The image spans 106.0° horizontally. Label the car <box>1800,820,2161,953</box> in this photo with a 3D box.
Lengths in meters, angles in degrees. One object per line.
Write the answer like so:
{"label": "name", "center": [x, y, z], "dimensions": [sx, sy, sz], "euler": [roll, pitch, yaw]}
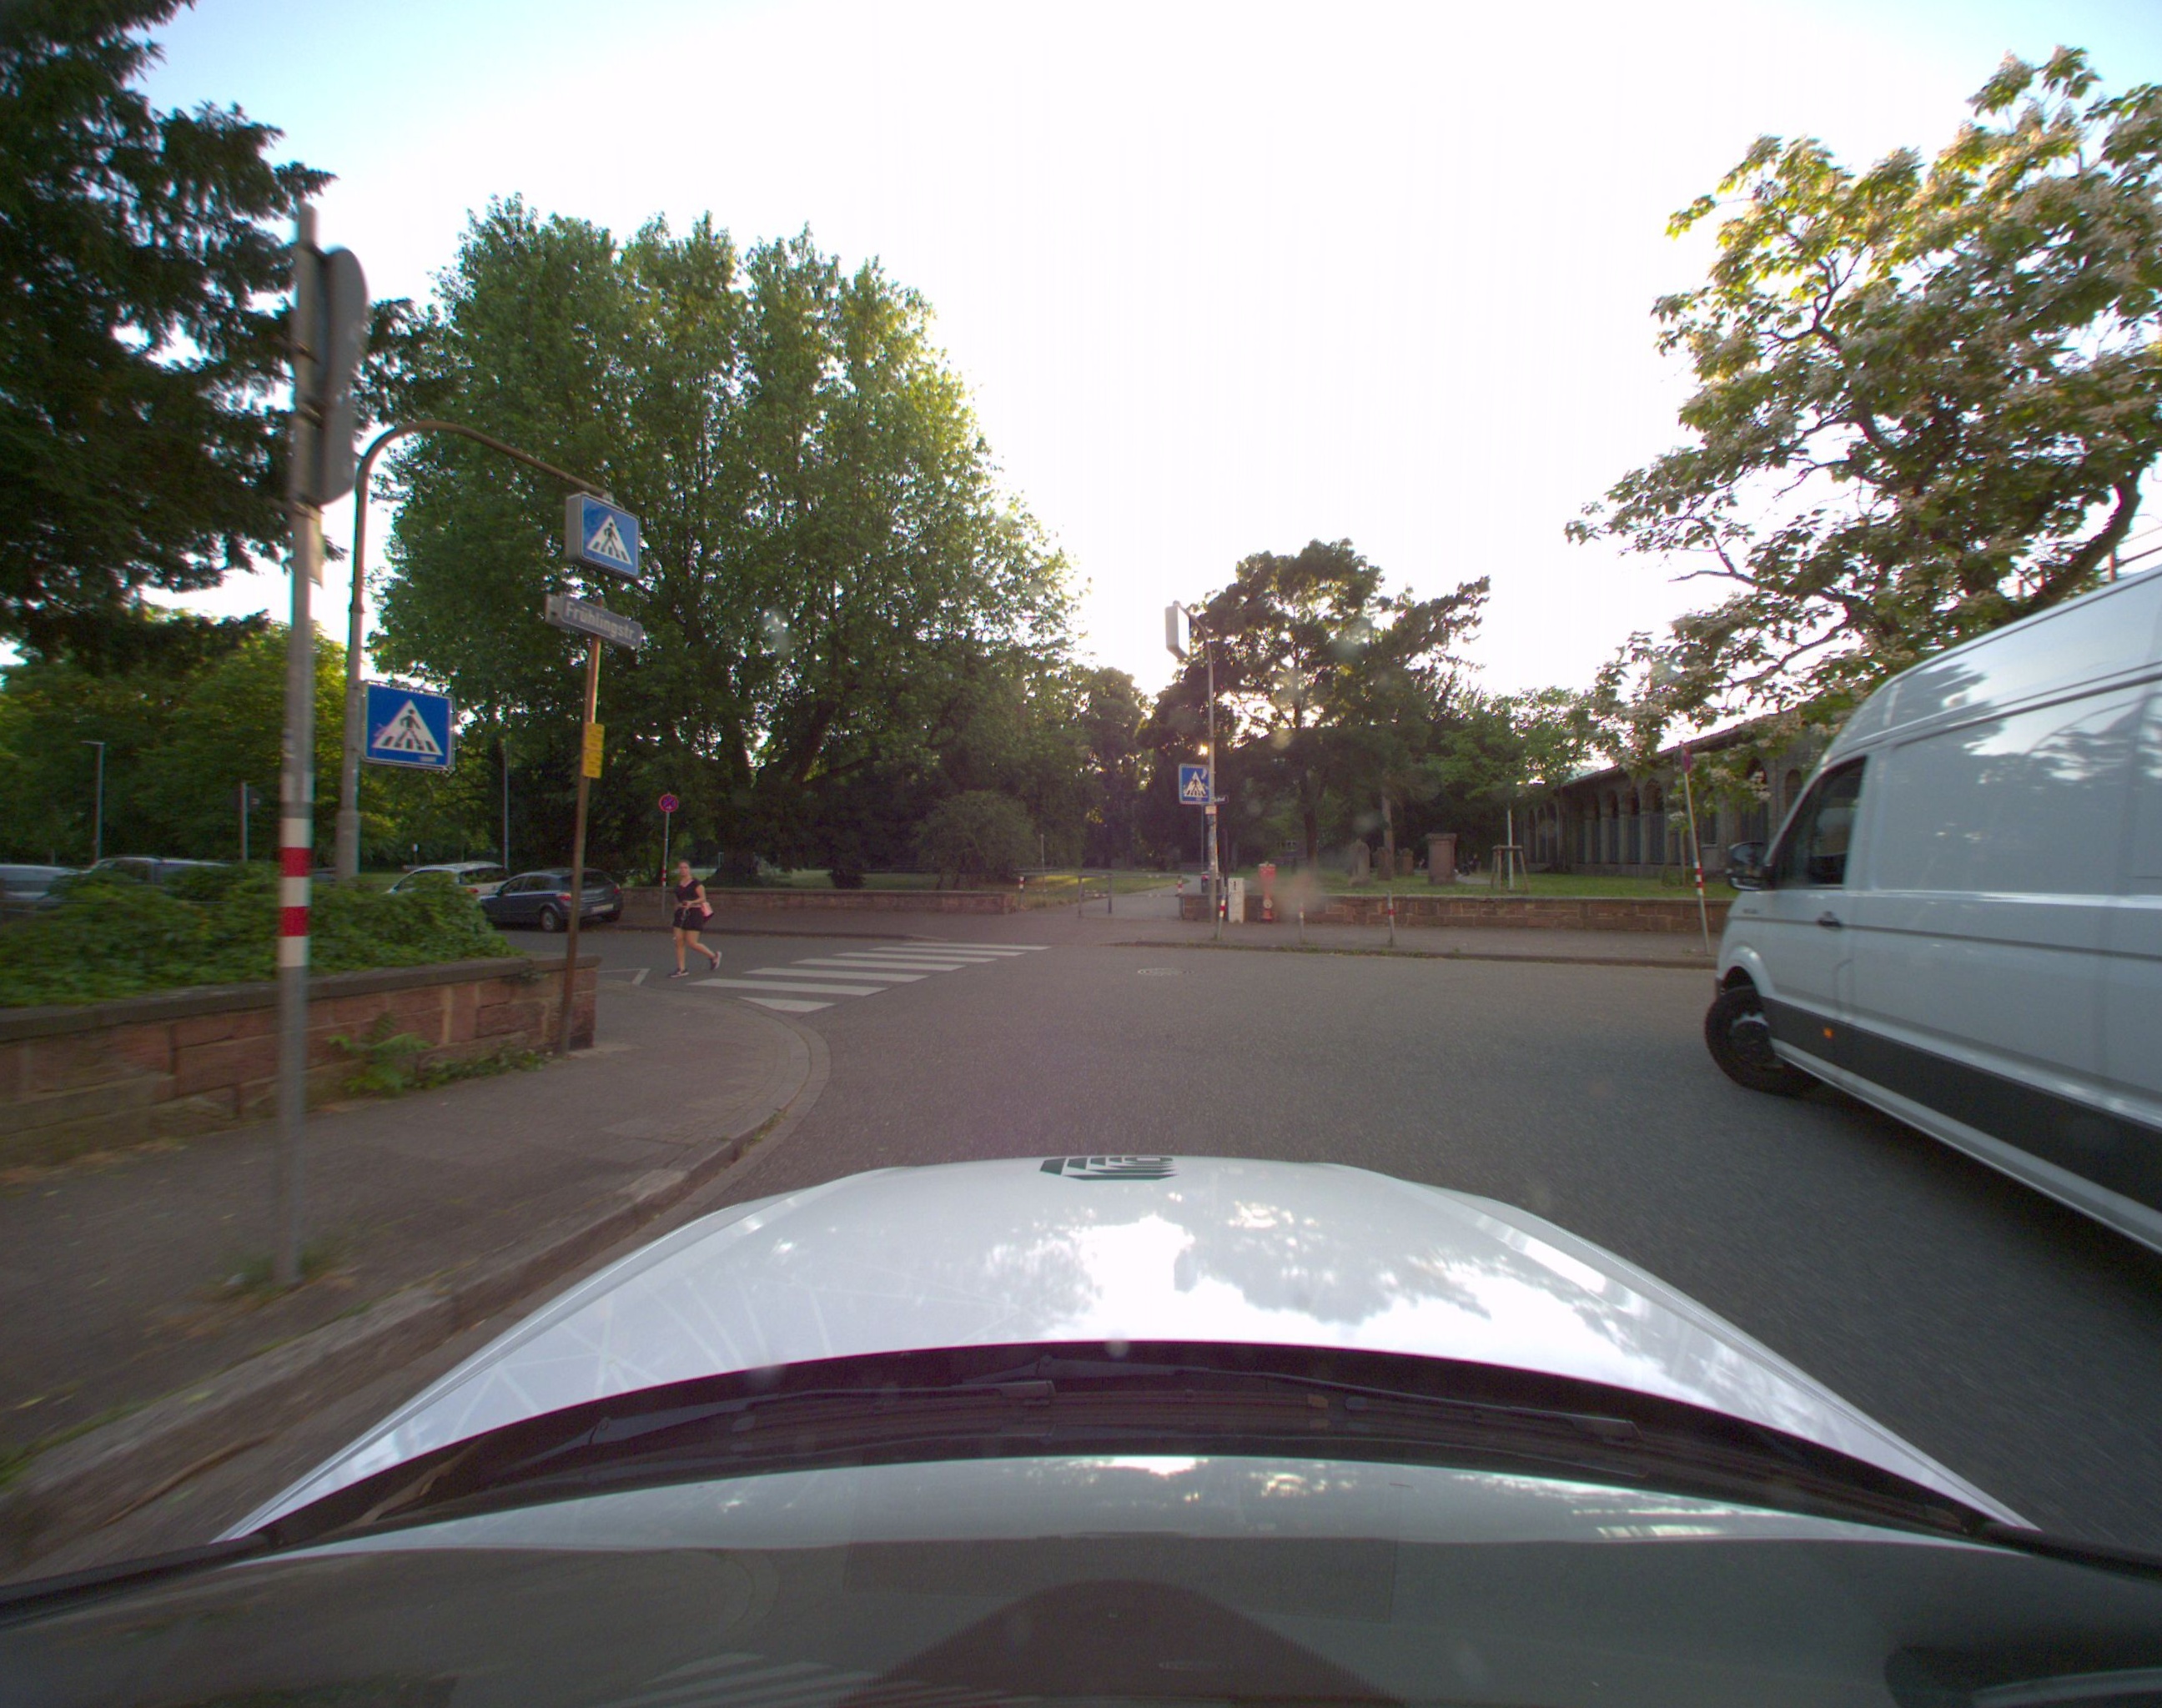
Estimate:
{"label": "car", "center": [12.389, 0.370, 10.799], "dimensions": [3.824, 1.574, 1.967], "euler": [0, 0, 17]}

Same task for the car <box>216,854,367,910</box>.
{"label": "car", "center": [-24.395, 0.840, 25.191], "dimensions": [3.835, 1.439, 1.834], "euler": [-1, 5, 22]}

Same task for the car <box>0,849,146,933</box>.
{"label": "car", "center": [-21.341, 0.764, 16.419], "dimensions": [4.192, 1.545, 1.832], "euler": [-1, -4, 21]}

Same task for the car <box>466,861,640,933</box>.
{"label": "car", "center": [-13.337, 1.038, 20.586], "dimensions": [3.817, 1.491, 1.835], "euler": [-1, 6, 25]}

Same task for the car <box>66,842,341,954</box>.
{"label": "car", "center": [-15.765, 0.790, 14.656], "dimensions": [4.192, 1.799, 1.832], "euler": [-1, -4, 21]}

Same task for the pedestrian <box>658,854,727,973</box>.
{"label": "pedestrian", "center": [-5.614, 0.832, 11.787], "dimensions": [0.644, 1.648, 0.673], "euler": [1, 0, -1]}

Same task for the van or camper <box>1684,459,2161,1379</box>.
{"label": "van or camper", "center": [4.333, 0.201, 2.812], "dimensions": [1.976, 2.618, 6.436], "euler": [1, 0, 21]}

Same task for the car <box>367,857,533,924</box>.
{"label": "car", "center": [-17.561, 0.981, 22.673], "dimensions": [3.835, 1.562, 1.834], "euler": [-1, 5, 22]}

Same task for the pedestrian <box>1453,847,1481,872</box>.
{"label": "pedestrian", "center": [22.326, 0.327, 47.093], "dimensions": [1.317, 1.444, 1.051], "euler": [0, 0, 18]}

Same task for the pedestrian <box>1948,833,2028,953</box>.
{"label": "pedestrian", "center": [14.145, 0.593, 12.720], "dimensions": [0.588, 1.809, 0.624], "euler": [1, 0, 20]}
